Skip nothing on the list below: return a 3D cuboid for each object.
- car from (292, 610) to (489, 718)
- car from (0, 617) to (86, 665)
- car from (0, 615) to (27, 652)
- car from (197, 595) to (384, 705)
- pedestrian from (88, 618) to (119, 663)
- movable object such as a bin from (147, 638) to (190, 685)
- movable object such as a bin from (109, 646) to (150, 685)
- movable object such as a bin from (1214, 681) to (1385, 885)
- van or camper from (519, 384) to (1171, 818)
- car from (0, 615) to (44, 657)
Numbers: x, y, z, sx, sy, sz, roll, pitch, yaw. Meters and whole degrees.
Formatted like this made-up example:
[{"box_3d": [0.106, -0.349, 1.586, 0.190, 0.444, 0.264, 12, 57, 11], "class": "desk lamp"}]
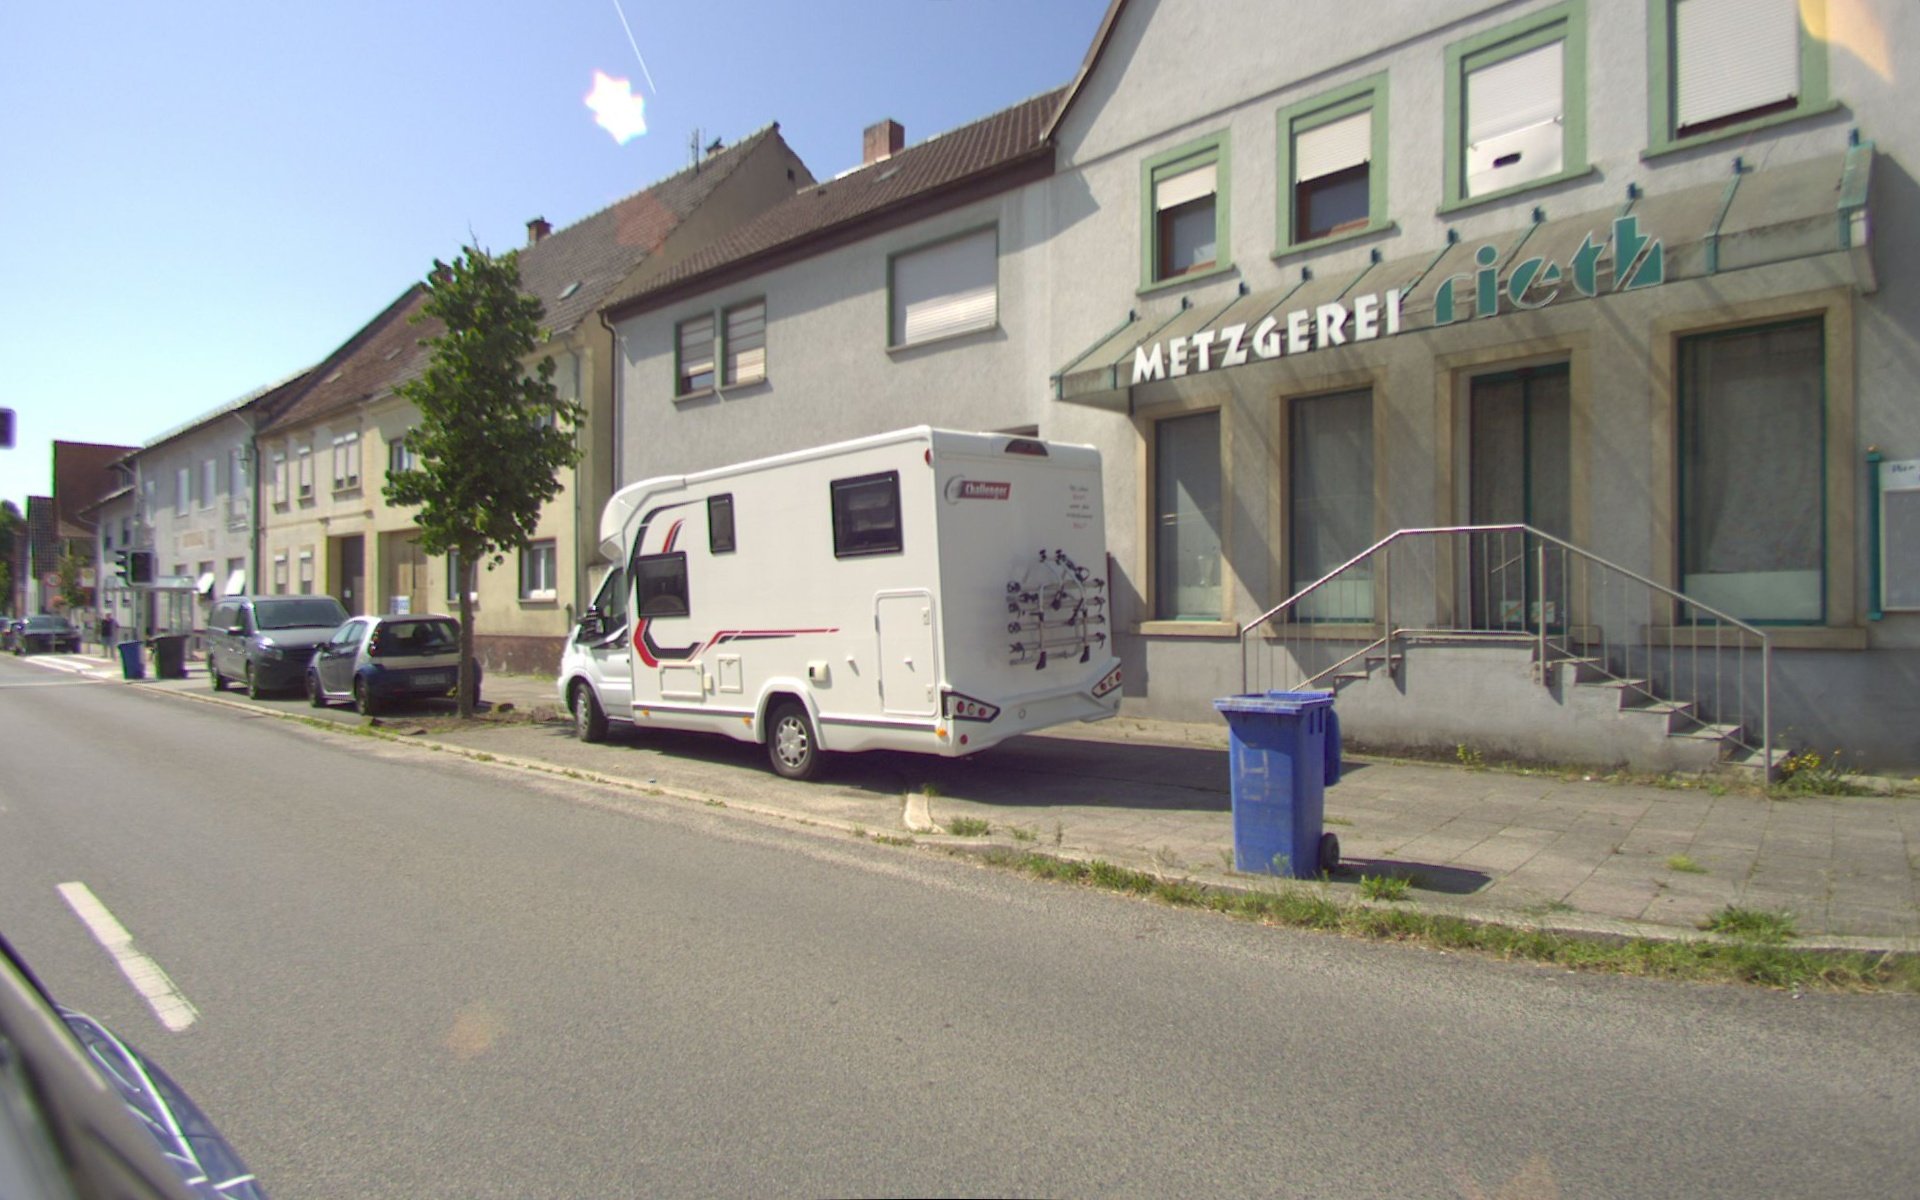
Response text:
[{"box_3d": [-9.081, 0.941, 16.028, 3.617, 1.493, 1.667, -1, -1, 42], "class": "car"}, {"box_3d": [-38.076, 1.663, 41.976, 4.957, 1.862, 2.324, -2, -1, 44], "class": "car"}, {"box_3d": [-49.529, 1.729, 52.068, 4.957, 1.862, 1.971, -2, -1, 44], "class": "car"}, {"box_3d": [-13.085, 0.891, 19.641, 4.957, 1.862, 1.971, -1, -1, 44], "class": "car"}, {"box_3d": [-29.820, 1.394, 35.237, 0.581, 1.543, 0.743, -1, -1, 41], "class": "pedestrian"}, {"box_3d": [-19.223, 1.485, 24.582, 0.550, 1.075, 0.709, -1, -1, 40], "class": "movable object such as a bin"}, {"box_3d": [-20.574, 1.603, 25.067, 0.550, 0.919, 0.709, -1, -1, 40], "class": "movable object such as a bin"}, {"box_3d": [1.714, 0.878, 5.105, 0.613, 0.878, 0.636, -1, -1, 41], "class": "movable object such as a bin"}, {"box_3d": [-1.632, 0.062, 10.120, 7.066, 2.927, 2.419, -1, -1, 42], "class": "van or camper"}, {"box_3d": [-45.141, 1.703, 48.143, 4.957, 1.862, 1.971, -2, -1, 44], "class": "car"}]
